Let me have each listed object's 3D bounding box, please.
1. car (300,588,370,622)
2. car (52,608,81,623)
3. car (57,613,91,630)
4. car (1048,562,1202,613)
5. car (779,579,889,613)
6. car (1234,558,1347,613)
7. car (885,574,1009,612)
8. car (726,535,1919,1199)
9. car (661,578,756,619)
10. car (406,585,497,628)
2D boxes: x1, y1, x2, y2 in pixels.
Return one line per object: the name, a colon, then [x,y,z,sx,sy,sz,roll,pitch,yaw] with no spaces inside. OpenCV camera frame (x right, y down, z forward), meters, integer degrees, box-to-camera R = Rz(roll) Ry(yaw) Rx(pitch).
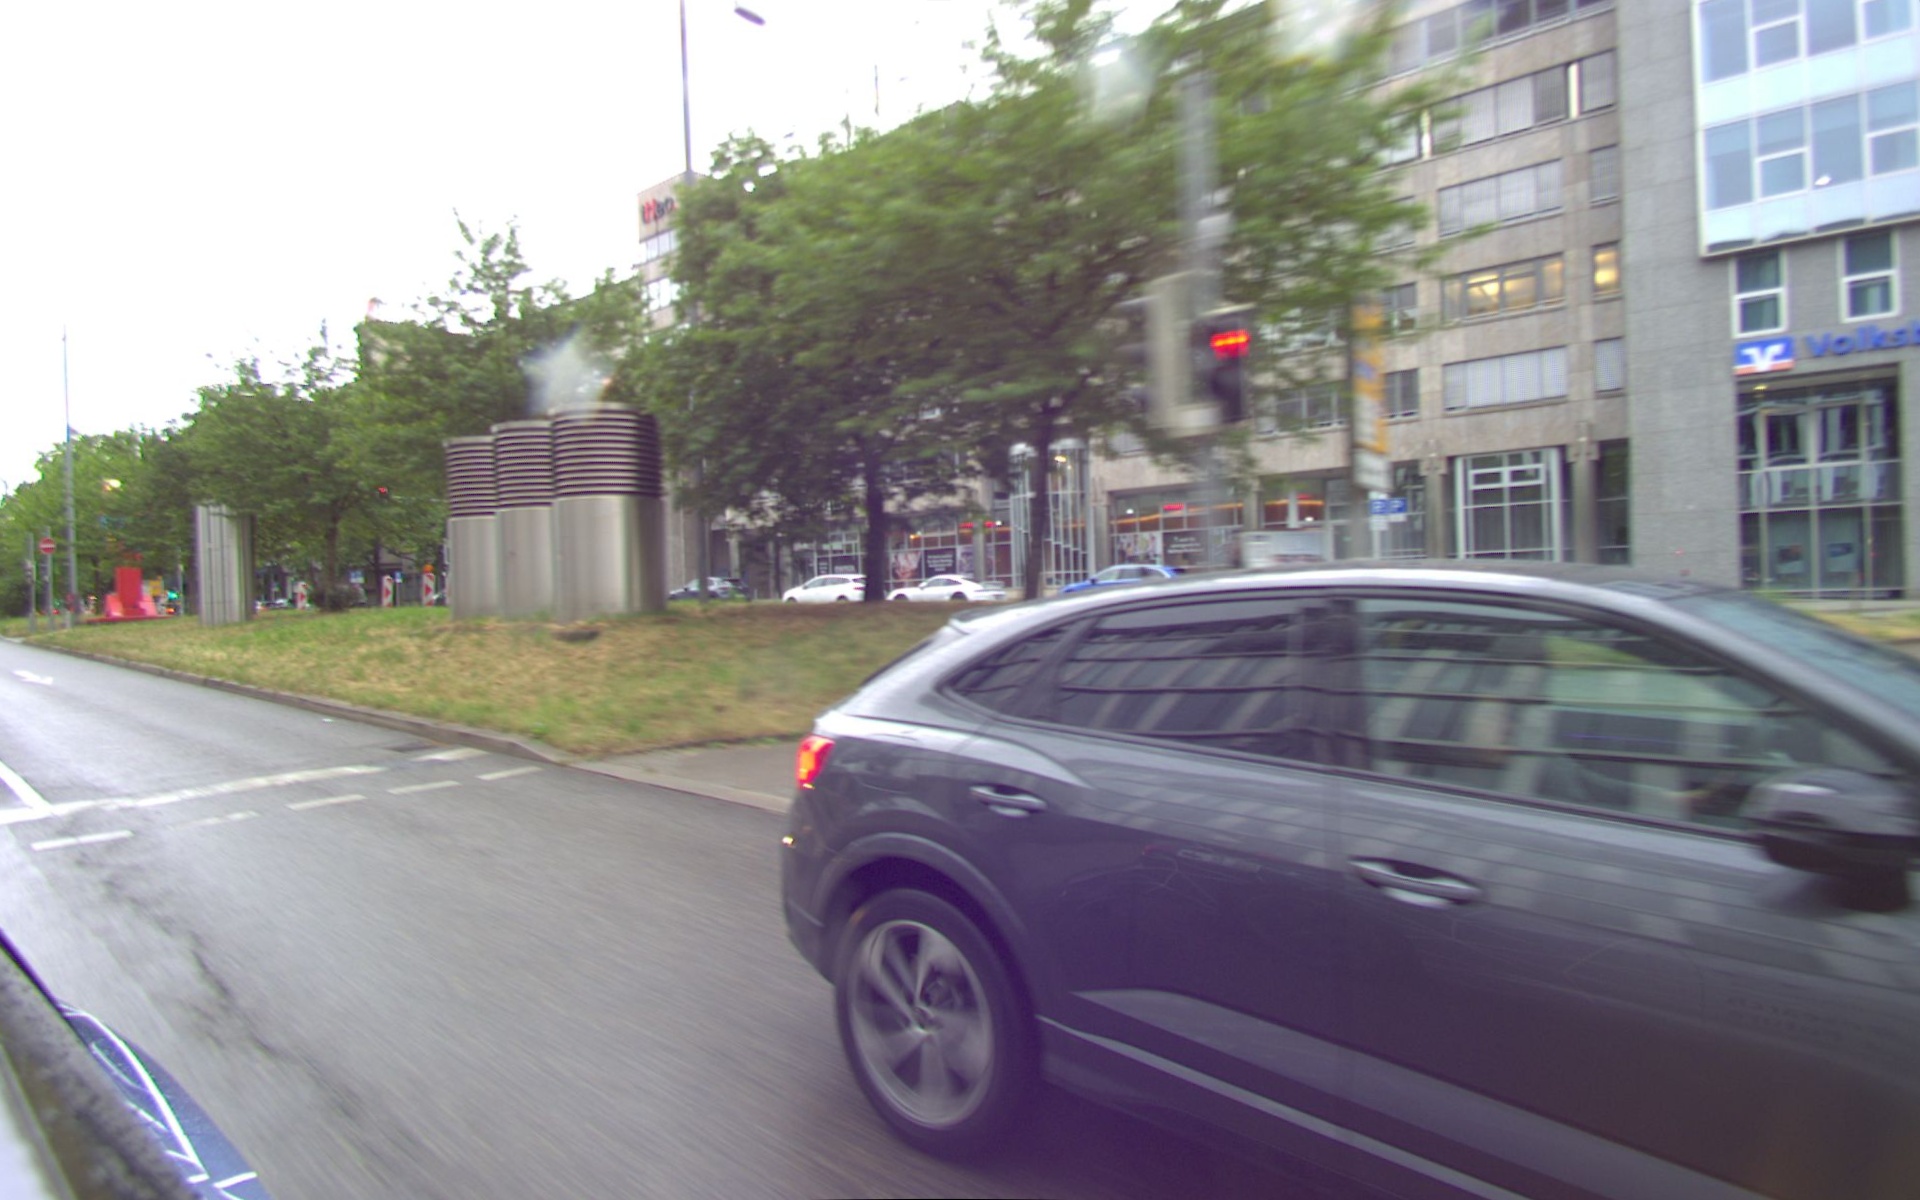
car: [-32.035,0.263,51.815,4.105,1.592,1.856,-1,3,41]
car: [-105.636,1.774,119.631,4.105,1.599,2.046,-1,3,41]
car: [-92.018,2.236,105.118,4.105,1.599,2.046,-1,3,41]
car: [4.950,-0.370,30.701,4.312,1.395,1.660,-1,3,36]
car: [-4.742,-0.144,37.706,4.100,1.130,1.557,-1,3,36]
car: [9.001,-0.381,27.625,2.625,1.395,1.227,-1,3,40]
car: [-0.482,-0.226,34.322,4.100,1.130,1.557,-1,3,36]
car: [1.530,0.660,2.349,4.343,1.529,1.841,-1,1,41]
car: [-10.635,-0.047,42.664,4.100,1.592,1.557,-1,3,36]
car: [-21.092,0.262,41.909,4.105,1.592,1.856,-1,3,41]
